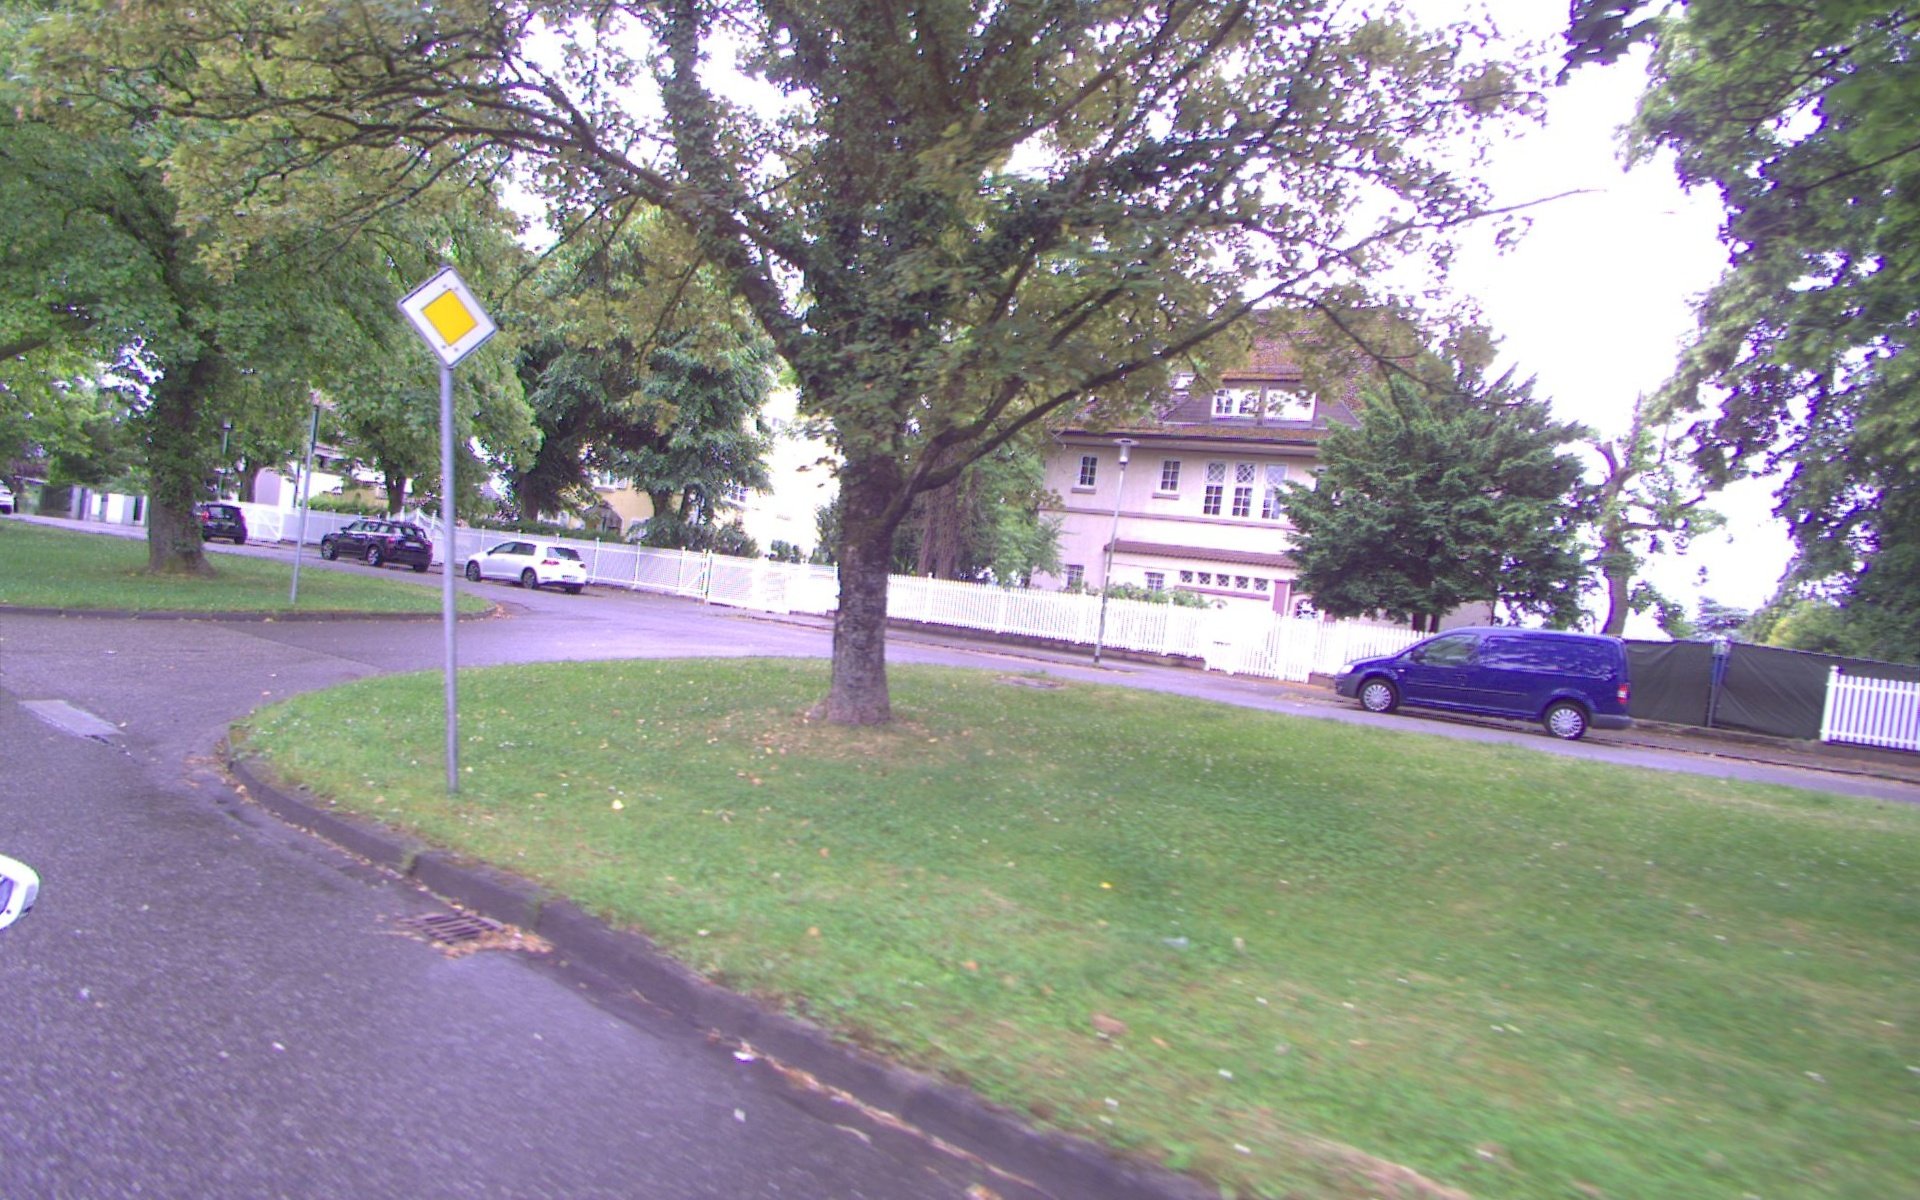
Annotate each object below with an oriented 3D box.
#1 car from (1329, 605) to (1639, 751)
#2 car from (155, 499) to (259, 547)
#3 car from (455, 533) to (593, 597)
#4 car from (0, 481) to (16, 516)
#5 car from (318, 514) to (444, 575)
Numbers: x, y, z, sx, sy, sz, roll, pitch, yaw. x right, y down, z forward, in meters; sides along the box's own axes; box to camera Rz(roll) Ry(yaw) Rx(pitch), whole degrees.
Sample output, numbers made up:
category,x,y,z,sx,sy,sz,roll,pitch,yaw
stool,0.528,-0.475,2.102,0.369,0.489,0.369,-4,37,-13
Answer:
category,x,y,z,sx,sy,sz,roll,pitch,yaw
car,9.344,1.312,18.237,4.569,1.833,1.943,8,2,30
car,-29.868,-3.057,39.893,4.042,1.430,1.804,7,1,30
car,-13.229,-1.058,30.479,3.940,1.428,1.619,7,1,27
car,-42.657,-4.553,43.434,3.934,1.424,1.804,7,2,32
car,-19.529,-1.890,33.902,4.042,1.549,1.804,7,1,30
